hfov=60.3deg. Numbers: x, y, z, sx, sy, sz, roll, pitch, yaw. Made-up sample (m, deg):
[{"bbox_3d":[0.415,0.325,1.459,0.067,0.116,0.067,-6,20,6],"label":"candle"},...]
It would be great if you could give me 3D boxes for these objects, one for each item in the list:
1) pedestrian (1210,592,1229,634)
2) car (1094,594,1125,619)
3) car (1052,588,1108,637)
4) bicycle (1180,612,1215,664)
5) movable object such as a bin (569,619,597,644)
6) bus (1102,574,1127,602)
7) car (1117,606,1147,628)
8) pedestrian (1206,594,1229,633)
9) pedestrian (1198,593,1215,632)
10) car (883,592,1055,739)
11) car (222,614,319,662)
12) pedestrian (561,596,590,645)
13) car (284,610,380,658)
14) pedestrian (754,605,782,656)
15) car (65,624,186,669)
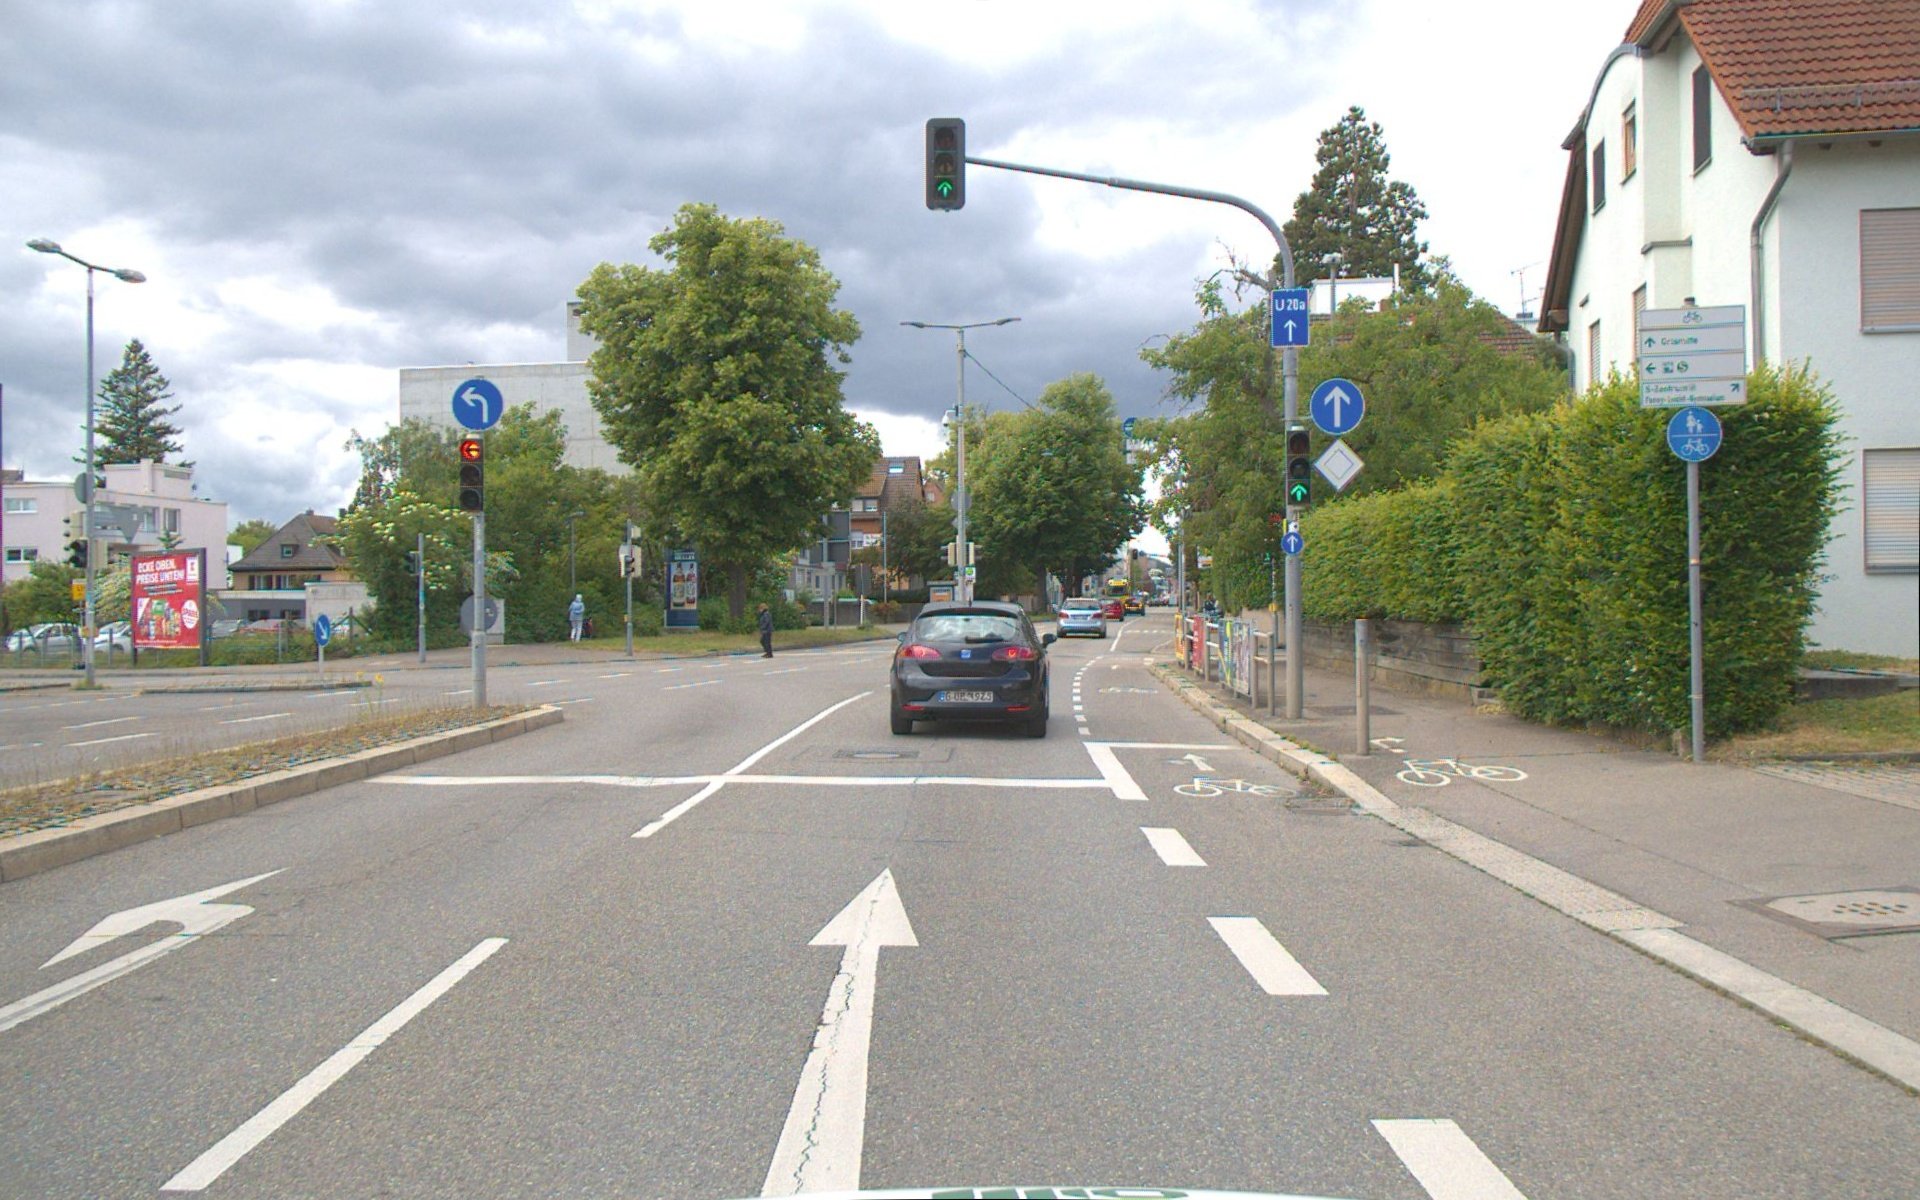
[{"bbox_3d":[9.904,0.492,63.152,0.532,1.582,0.471,-4,0,-1],"label":"pedestrian"},{"bbox_3d":[9.558,0.420,105.751,1.900,1.507,4.256,-1,0,5],"label":"car"},{"bbox_3d":[4.555,0.456,62.424,1.780,1.729,4.257,-1,0,8],"label":"car"},{"bbox_3d":[4.907,0.777,34.245,0.614,1.046,1.505,0,0,5],"label":"bicycle"},{"bbox_3d":[-12.261,1.018,53.772,0.641,0.812,0.898,-1,0,5],"label":"movable object such as a bin"},{"bbox_3d":[18.140,-1.452,194.181,2.808,3.191,6.402,-1,0,6],"label":"bus"},{"bbox_3d":[14.230,1.364,136.447,1.951,1.713,4.003,-1,0,13],"label":"car"},{"bbox_3d":[10.038,0.527,64.598,0.509,1.452,0.611,-4,0,-44],"label":"pedestrian"},{"bbox_3d":[9.883,0.500,66.276,0.538,1.543,0.362,-3,0,16],"label":"pedestrian"},{"bbox_3d":[0.197,0.670,18.982,1.722,1.474,3.716,1,0,4],"label":"car"},{"bbox_3d":[-31.051,1.687,74.603,1.951,2.049,4.002,2,0,16],"label":"car"},{"bbox_3d":[-12.330,0.660,53.024,0.641,1.549,0.924,-1,0,5],"label":"pedestrian"},{"bbox_3d":[-27.951,1.485,73.711,1.951,2.049,4.002,2,0,16],"label":"car"},{"bbox_3d":[-5.409,0.859,46.547,0.758,1.432,0.600,0,0,-6],"label":"pedestrian"},{"bbox_3d":[-32.168,1.768,63.884,1.759,1.581,4.000,-1,0,22],"label":"car"}]
